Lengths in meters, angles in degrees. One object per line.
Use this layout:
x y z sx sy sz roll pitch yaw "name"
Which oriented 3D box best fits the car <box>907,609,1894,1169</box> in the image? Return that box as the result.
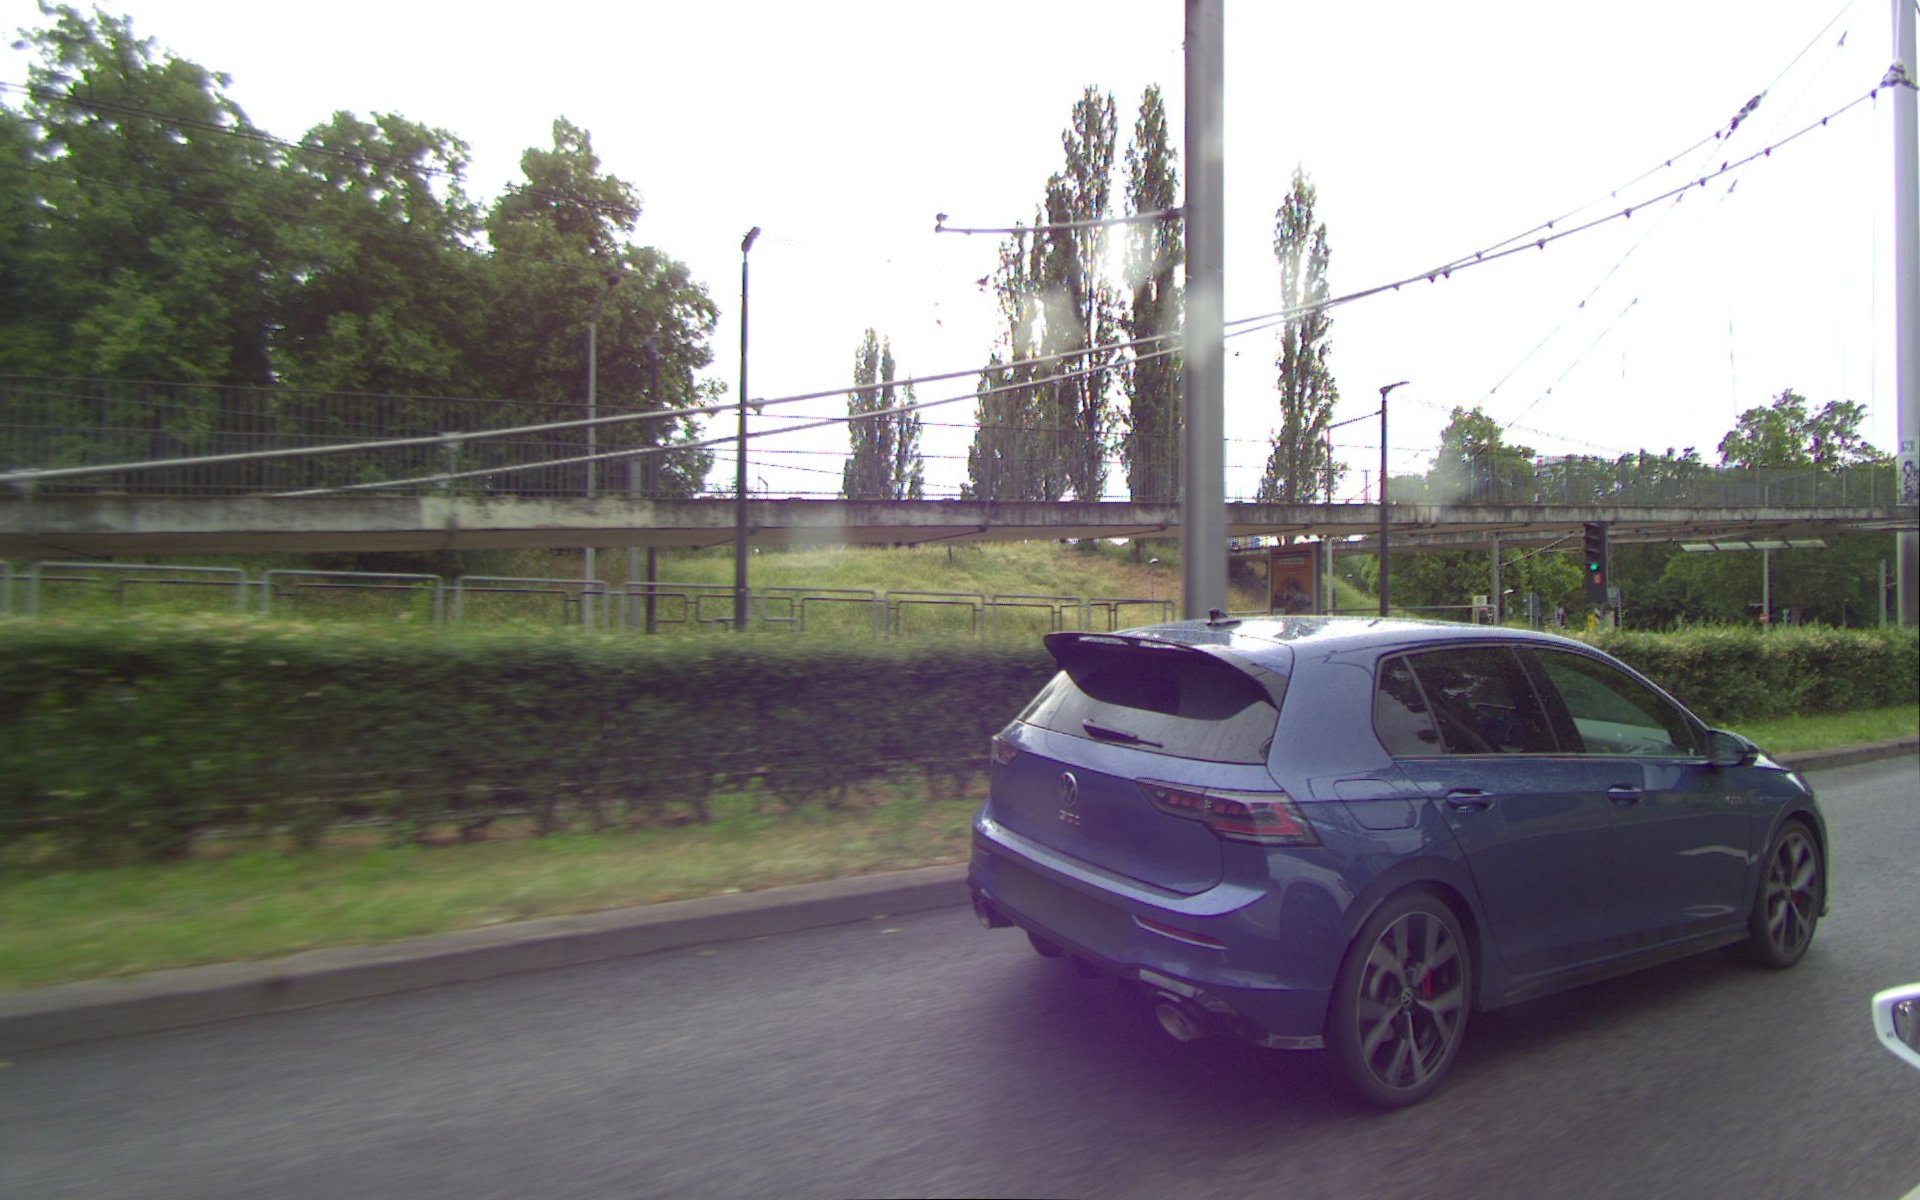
2.093 0.803 4.429 4.296 1.397 1.799 2 0 -30 "car"
